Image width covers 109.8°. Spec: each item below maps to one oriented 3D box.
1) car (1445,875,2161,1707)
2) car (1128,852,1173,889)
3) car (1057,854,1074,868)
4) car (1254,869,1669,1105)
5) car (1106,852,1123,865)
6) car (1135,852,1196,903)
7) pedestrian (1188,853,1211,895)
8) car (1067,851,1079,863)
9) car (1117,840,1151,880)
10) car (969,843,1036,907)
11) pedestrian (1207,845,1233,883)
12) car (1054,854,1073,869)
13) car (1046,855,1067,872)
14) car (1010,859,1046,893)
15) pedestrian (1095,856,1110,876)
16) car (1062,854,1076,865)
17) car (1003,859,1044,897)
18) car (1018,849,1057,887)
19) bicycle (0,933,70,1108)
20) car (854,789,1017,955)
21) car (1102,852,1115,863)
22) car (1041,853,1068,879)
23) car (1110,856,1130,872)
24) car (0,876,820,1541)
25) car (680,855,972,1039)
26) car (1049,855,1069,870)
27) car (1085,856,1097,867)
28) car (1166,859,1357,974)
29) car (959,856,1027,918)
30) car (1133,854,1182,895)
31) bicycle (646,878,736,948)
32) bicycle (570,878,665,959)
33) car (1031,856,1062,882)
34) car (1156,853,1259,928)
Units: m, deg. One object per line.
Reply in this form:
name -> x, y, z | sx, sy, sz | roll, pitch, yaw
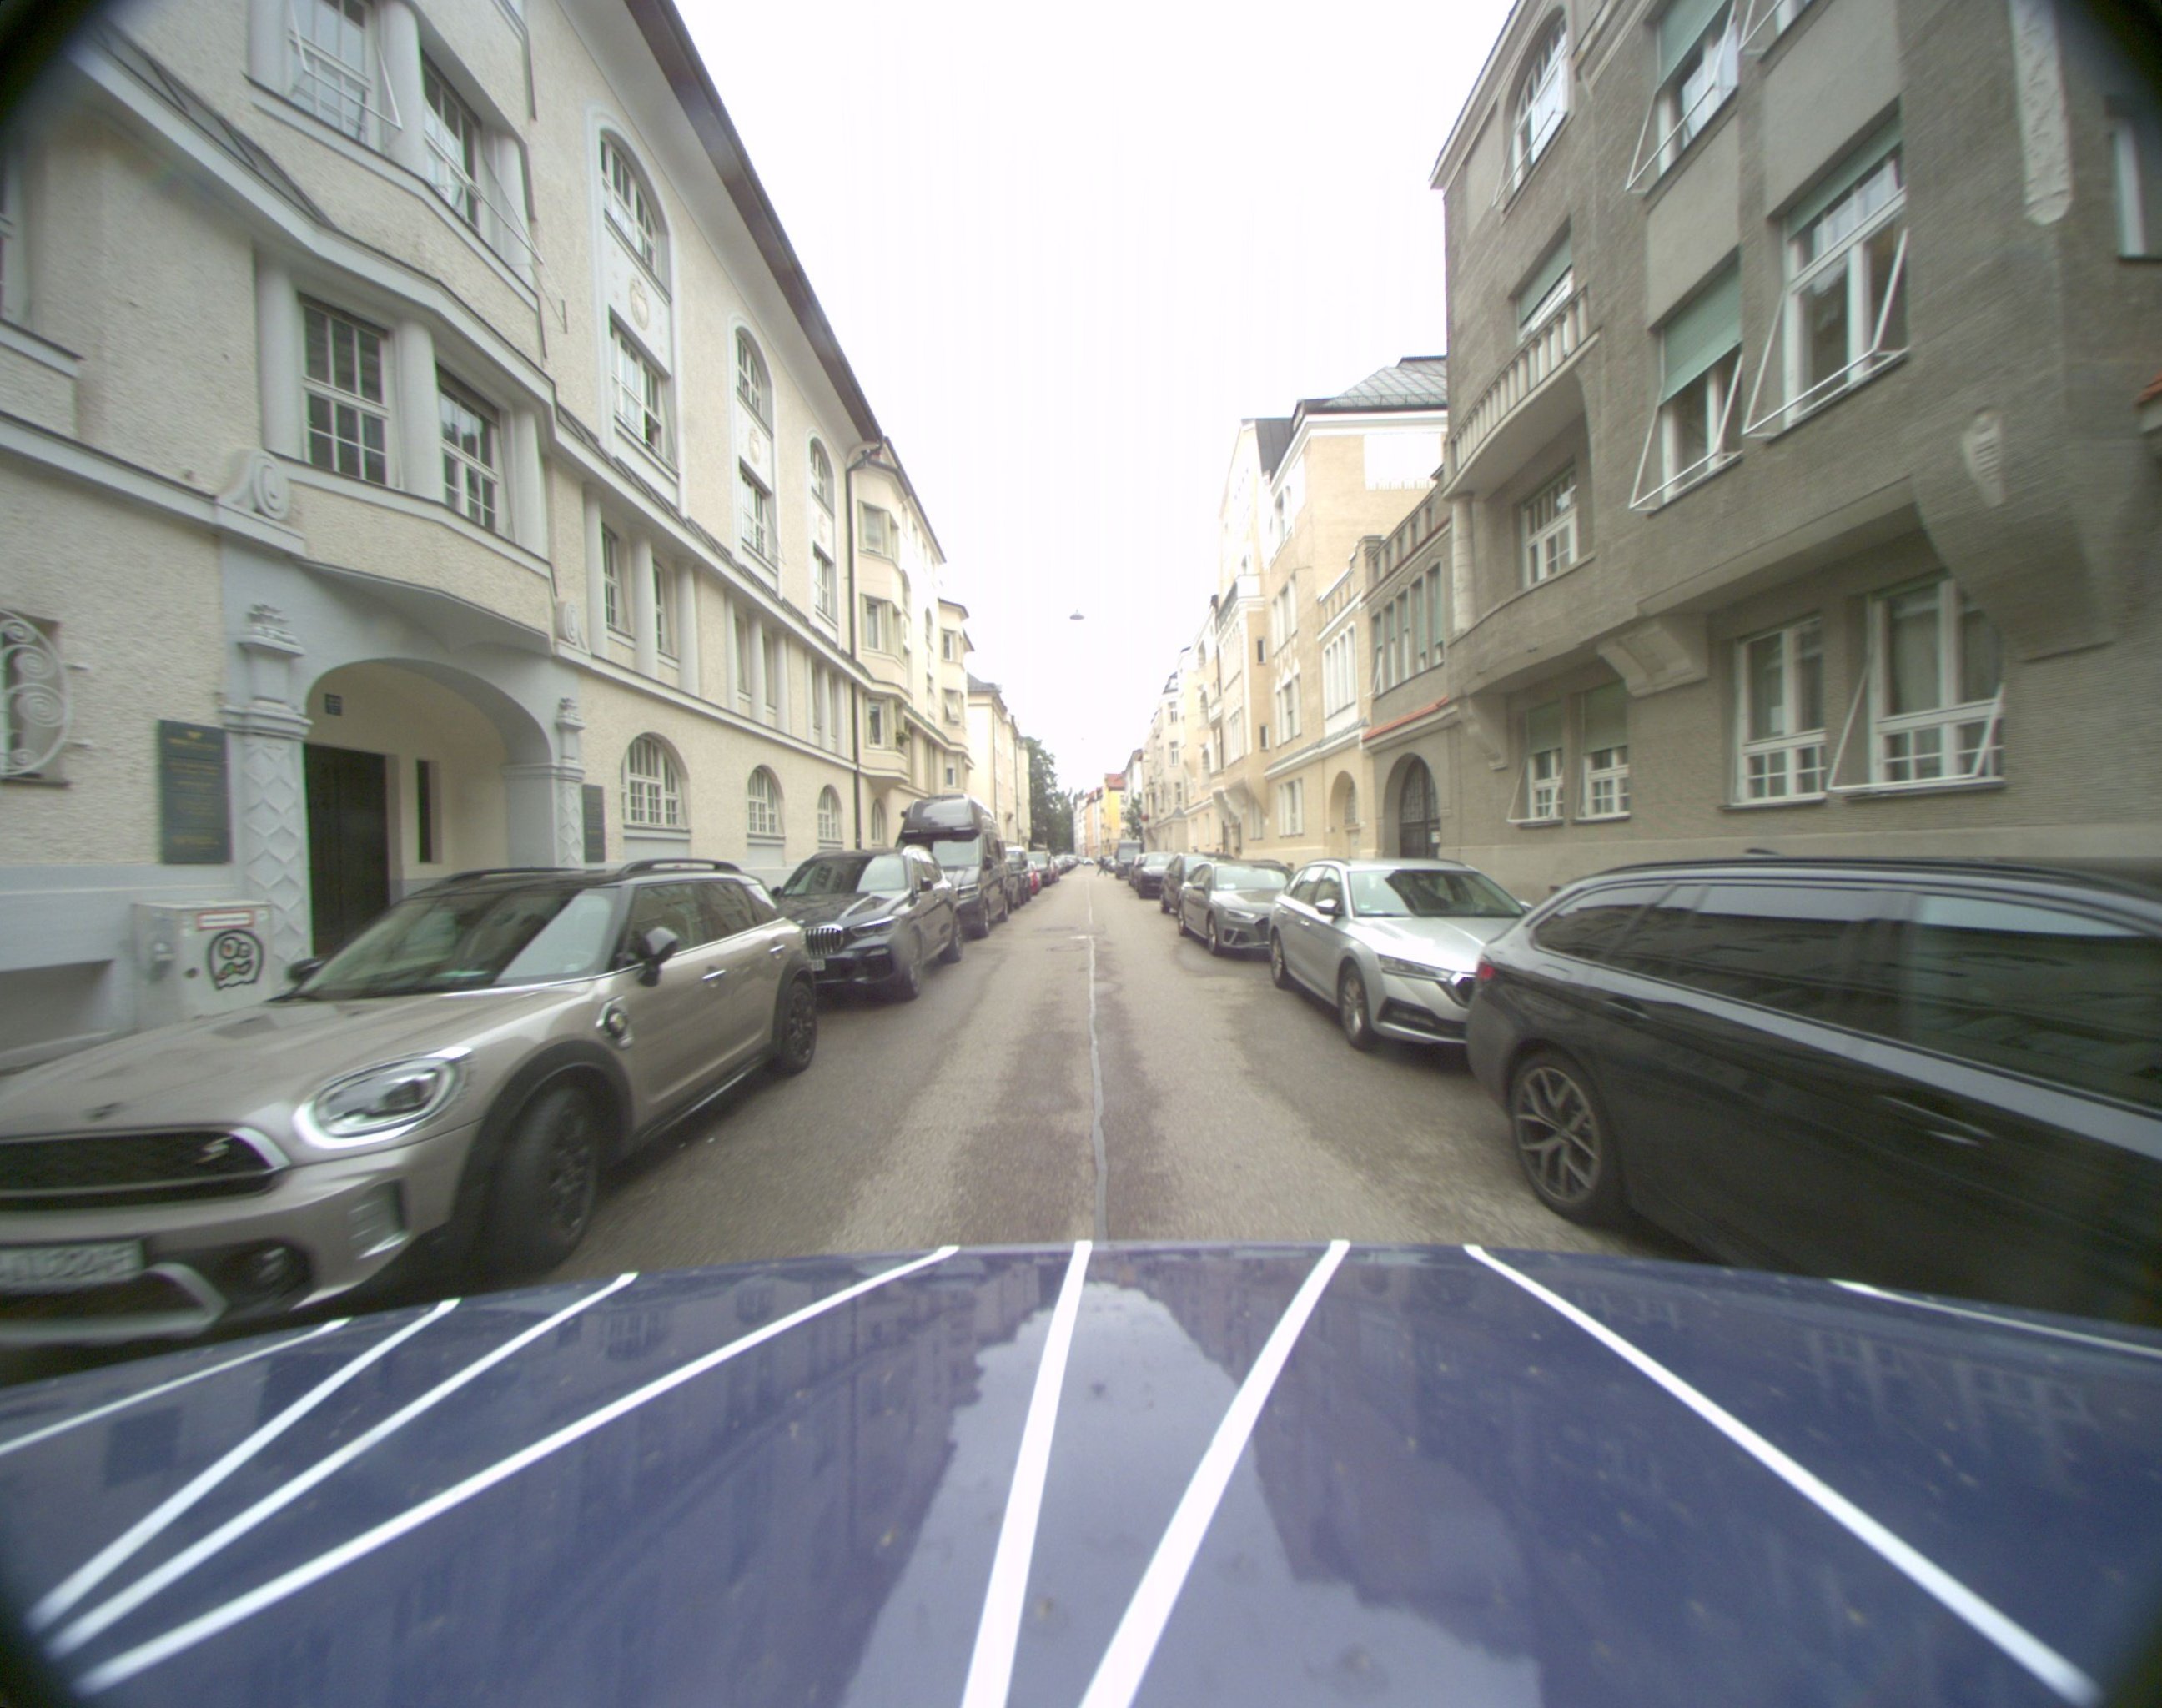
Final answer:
car -> 2.902, 0.866, 1.502 | 1.999, 1.440, 4.778 | -2, 0, -1
car -> 3.444, 0.790, 38.541 | 1.877, 1.639, 4.460 | -2, 0, 1
car -> -1.682, 0.749, 81.986 | 1.683, 1.375, 3.645 | -2, 0, 1
car -> 2.964, 0.910, 7.140 | 1.810, 1.423, 4.439 | 0, 0, 2
car -> 3.852, 0.510, 87.513 | 1.683, 1.390, 3.704 | -2, 0, -1
car -> 3.050, 0.793, 28.293 | 1.955, 1.649, 4.618 | -2, 0, 4
pedestrian -> 5.161, 0.846, 33.175 | 0.837, 1.779, 0.741 | -2, 1, 0
car -> -1.228, 0.417, 114.013 | 1.683, 1.671, 3.645 | -2, 0, 1
car -> 3.564, 0.356, 52.016 | 2.104, 2.606, 5.678 | -1, 0, 2
car -> -2.686, 0.674, 26.837 | 1.800, 2.027, 4.071 | -2, 0, 1
pedestrian -> 6.425, 0.456, 35.167 | 0.995, 1.719, 0.939 | -2, 1, 0
car -> -1.772, 0.777, 77.700 | 1.683, 1.375, 3.645 | -2, 0, 1
car -> -2.171, 0.849, 68.171 | 1.683, 1.434, 3.645 | -2, 0, 1
car -> -2.569, 1.037, 37.517 | 1.497, 1.463, 3.675 | -3, 0, -1
pedestrian -> 1.697, 0.910, 58.664 | 1.014, 1.514, 0.715 | -2, 1, 8
car -> -1.539, 0.723, 100.212 | 1.683, 1.434, 3.645 | -2, 0, 1
car -> -2.487, 1.022, 33.442 | 1.497, 1.463, 3.503 | -3, 0, -1
car -> -2.442, 0.749, 43.501 | 1.880, 1.925, 4.662 | -3, 0, -1
bicycle -> -7.534, 1.154, 4.572 | 0.483, 1.144, 1.788 | -2, 1, -2
car -> -2.922, 0.272, 17.001 | 2.260, 2.943, 6.131 | -3, 1, 0
car -> 4.218, 0.505, 115.956 | 1.683, 1.628, 3.704 | -2, 0, -1
car -> -1.887, 0.834, 55.242 | 1.683, 1.767, 3.456 | -2, 0, 1
car -> 3.665, 0.898, 71.281 | 1.683, 1.390, 3.705 | -2, 0, 1
car -> -2.907, 1.005, 3.967 | 1.638, 1.583, 3.968 | -2, 0, 0
car -> -2.840, 0.916, 9.782 | 1.998, 1.679, 4.674 | -3, 0, 1
car -> -2.091, 0.817, 73.177 | 1.683, 1.375, 3.645 | -2, 0, 1
car -> 1.886, 1.373, 141.644 | 1.999, 1.788, 3.998 | -2, 0, -3
car -> 2.736, 0.861, 12.700 | 1.842, 1.504, 4.606 | -1, 0, -3
car -> -2.537, 0.926, 22.453 | 1.545, 1.616, 2.815 | -2, 0, 2
car -> 3.296, 0.848, 33.443 | 1.736, 1.633, 4.101 | -2, 0, 1
bicycle -> -7.305, 1.070, 14.317 | 0.482, 1.144, 1.789 | -2, 1, 9
bicycle -> -7.435, 1.002, 12.268 | 0.483, 1.144, 1.788 | 1, 0, -2
car -> -2.150, 0.939, 48.339 | 1.731, 1.458, 3.737 | -2, 0, 1
car -> 2.980, 0.804, 18.654 | 1.807, 1.563, 3.813 | -2, 0, -1
